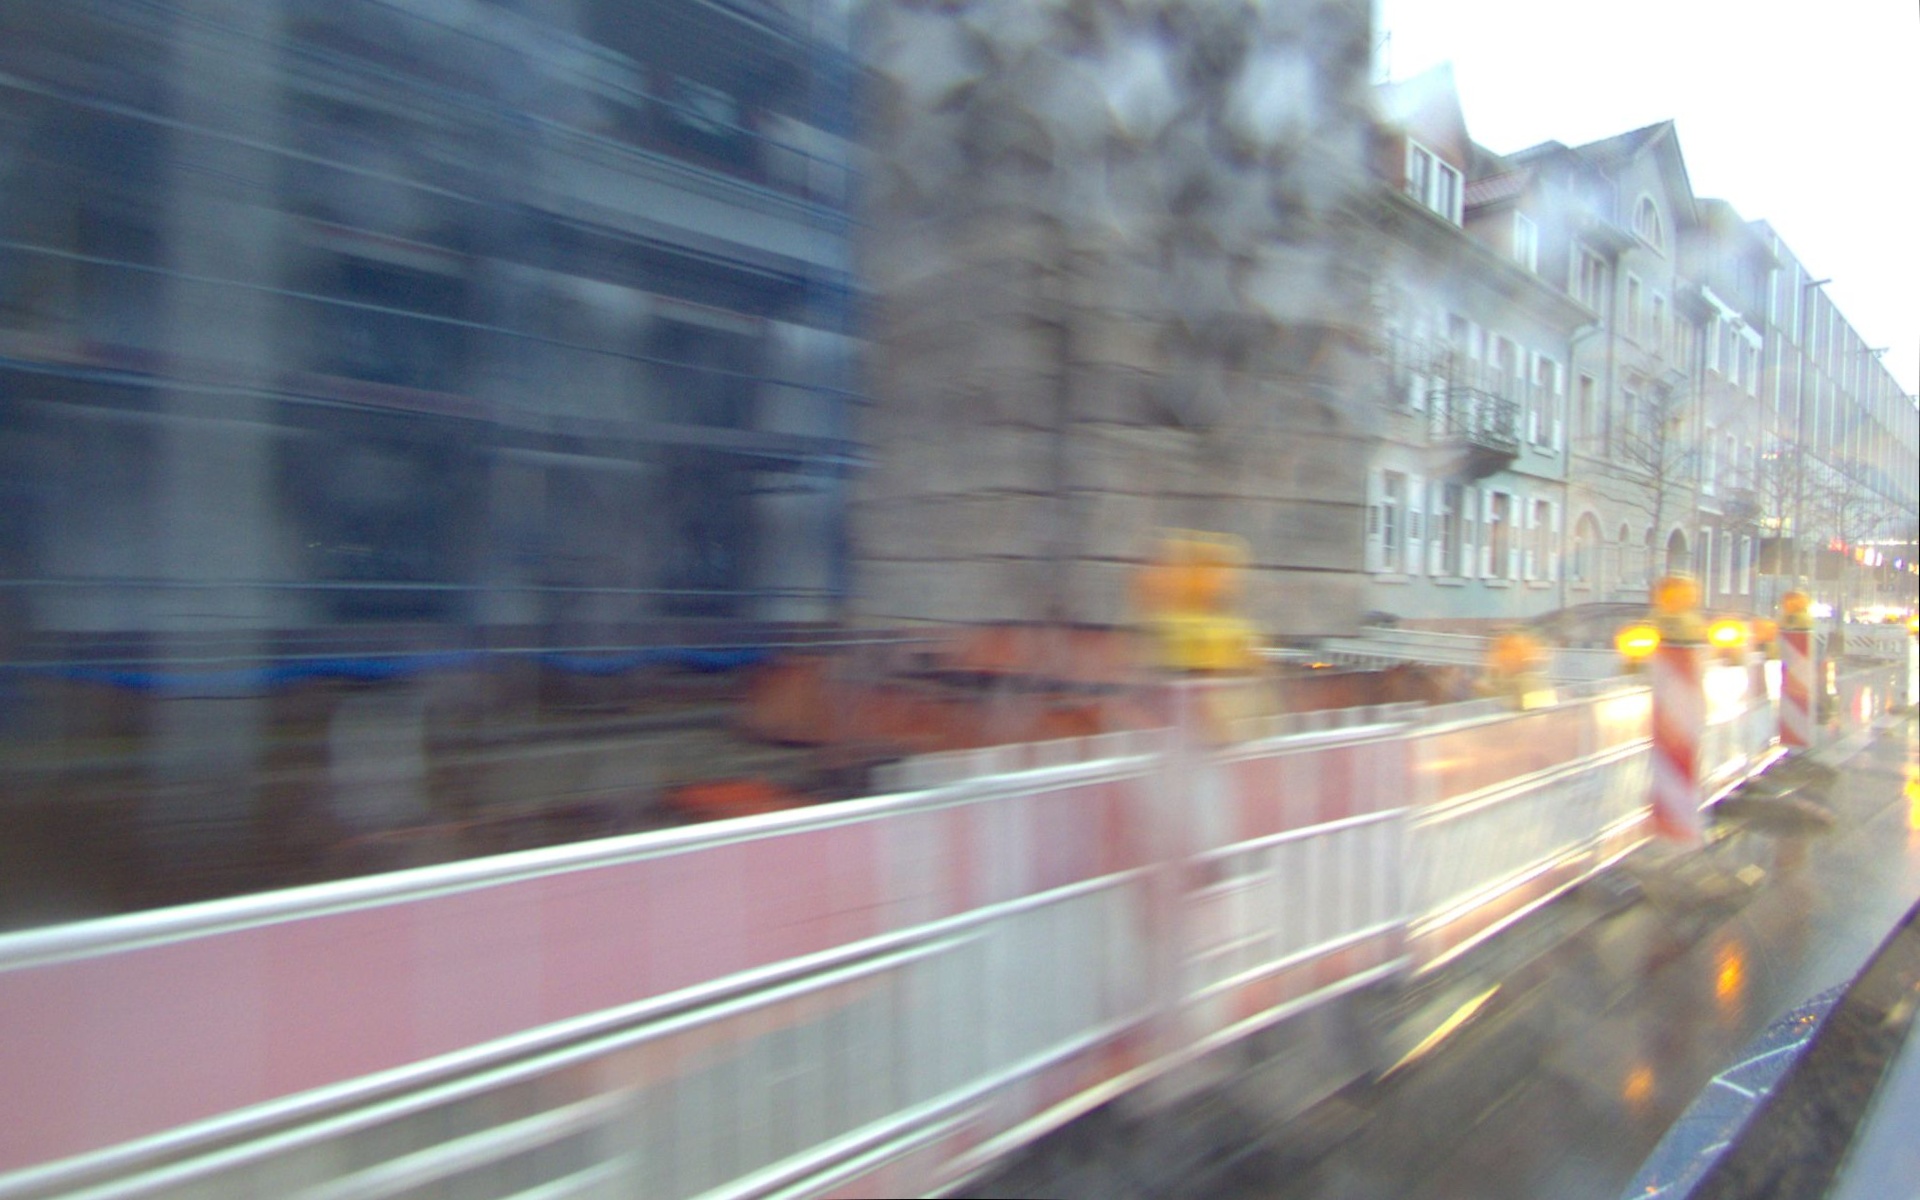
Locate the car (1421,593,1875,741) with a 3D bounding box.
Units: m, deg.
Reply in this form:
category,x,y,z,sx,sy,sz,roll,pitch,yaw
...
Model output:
category,x,y,z,sx,sy,sz,roll,pitch,yaw
car,7.895,0.698,12.077,4.034,1.537,1.900,0,0,14
